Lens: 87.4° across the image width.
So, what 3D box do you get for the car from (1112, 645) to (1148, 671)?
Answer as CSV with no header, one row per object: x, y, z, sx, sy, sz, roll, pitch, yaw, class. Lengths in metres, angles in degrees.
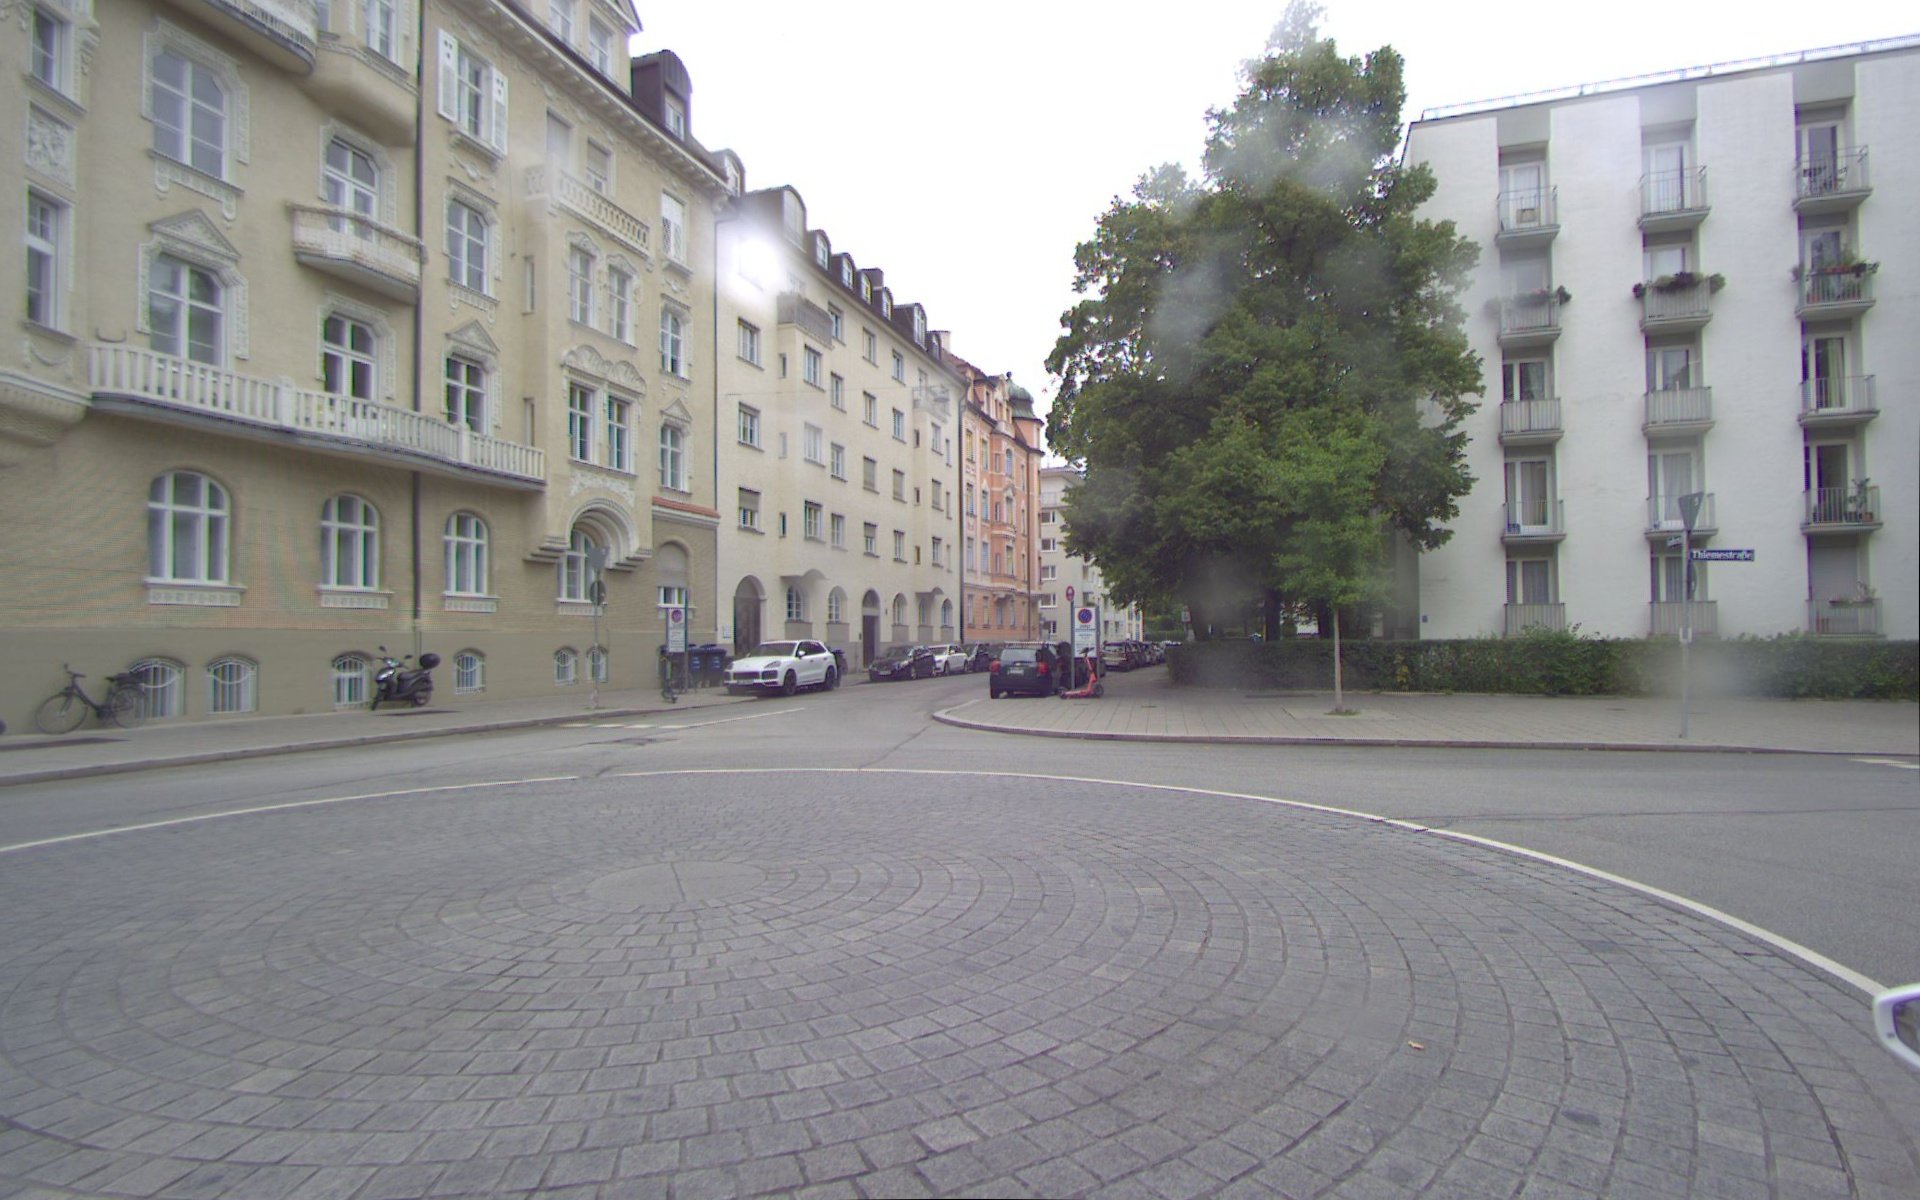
10.416,3.532,61.526,1.642,1.475,3.678,-4,-3,17,car

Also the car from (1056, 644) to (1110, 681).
5.388,2.683,43.557,1.642,1.475,3.678,-4,-3,17,car

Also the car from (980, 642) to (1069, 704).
1.889,2.010,28.385,1.642,1.548,3.678,-4,-3,17,car

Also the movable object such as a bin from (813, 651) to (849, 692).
-4.616,2.559,35.977,0.933,1.419,0.918,-1,-2,20,movable object such as a bin

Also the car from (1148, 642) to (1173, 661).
16.494,4.211,82.558,1.642,1.475,3.678,-4,-3,17,car

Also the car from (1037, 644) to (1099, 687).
4.163,2.450,38.315,1.642,1.475,3.678,-4,-3,17,car

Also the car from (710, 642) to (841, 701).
-5.638,2.160,31.414,1.960,1.698,4.993,-1,-2,17,car

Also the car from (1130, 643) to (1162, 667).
12.690,3.740,68.375,1.642,1.475,3.678,-4,-3,17,car

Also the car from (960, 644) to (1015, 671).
1.533,3.088,54.655,1.960,1.393,4.182,-1,-2,17,car

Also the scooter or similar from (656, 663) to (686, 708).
-7.634,2.250,26.526,0.535,1.123,1.338,0,-2,-26,scooter or similar

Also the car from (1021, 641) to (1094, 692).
3.309,2.184,33.527,1.642,1.548,3.678,-4,-3,17,car

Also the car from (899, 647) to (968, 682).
-1.159,2.912,46.053,1.960,1.469,4.182,-1,-2,17,car

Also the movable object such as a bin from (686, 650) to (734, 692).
-8.490,2.396,34.149,1.125,1.389,1.181,-1,-2,20,movable object such as a bin

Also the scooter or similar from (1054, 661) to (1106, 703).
3.051,2.068,25.499,1.285,1.037,0.529,-1,-2,6,scooter or similar

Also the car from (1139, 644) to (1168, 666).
14.123,3.958,73.216,1.642,1.475,3.678,-4,-3,17,car

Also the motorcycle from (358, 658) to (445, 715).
-12.612,1.937,22.741,0.727,1.202,1.747,-1,-2,15,motorcycle

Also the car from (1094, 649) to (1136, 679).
8.421,3.437,54.431,1.642,1.475,3.678,-4,-3,17,car

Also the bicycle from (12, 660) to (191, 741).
-14.483,1.656,17.054,0.685,1.219,2.341,-1,-2,13,bicycle

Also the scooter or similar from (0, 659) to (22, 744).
-14.891,1.541,15.044,0.450,1.288,1.285,0,-2,0,scooter or similar

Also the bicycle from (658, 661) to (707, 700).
-8.170,2.359,29.655,0.640,1.083,1.977,-1,-2,10,bicycle

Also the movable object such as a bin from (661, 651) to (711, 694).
-9.003,2.374,33.040,1.125,1.389,1.181,-1,-2,20,movable object such as a bin

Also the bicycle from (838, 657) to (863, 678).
-5.070,3.141,46.623,0.640,0.914,1.816,-1,-2,10,bicycle

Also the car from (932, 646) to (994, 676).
0.212,3.026,50.186,1.960,1.393,4.182,-1,-2,17,car

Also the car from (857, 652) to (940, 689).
-2.465,2.871,41.269,1.960,1.376,4.480,-1,-2,17,car
